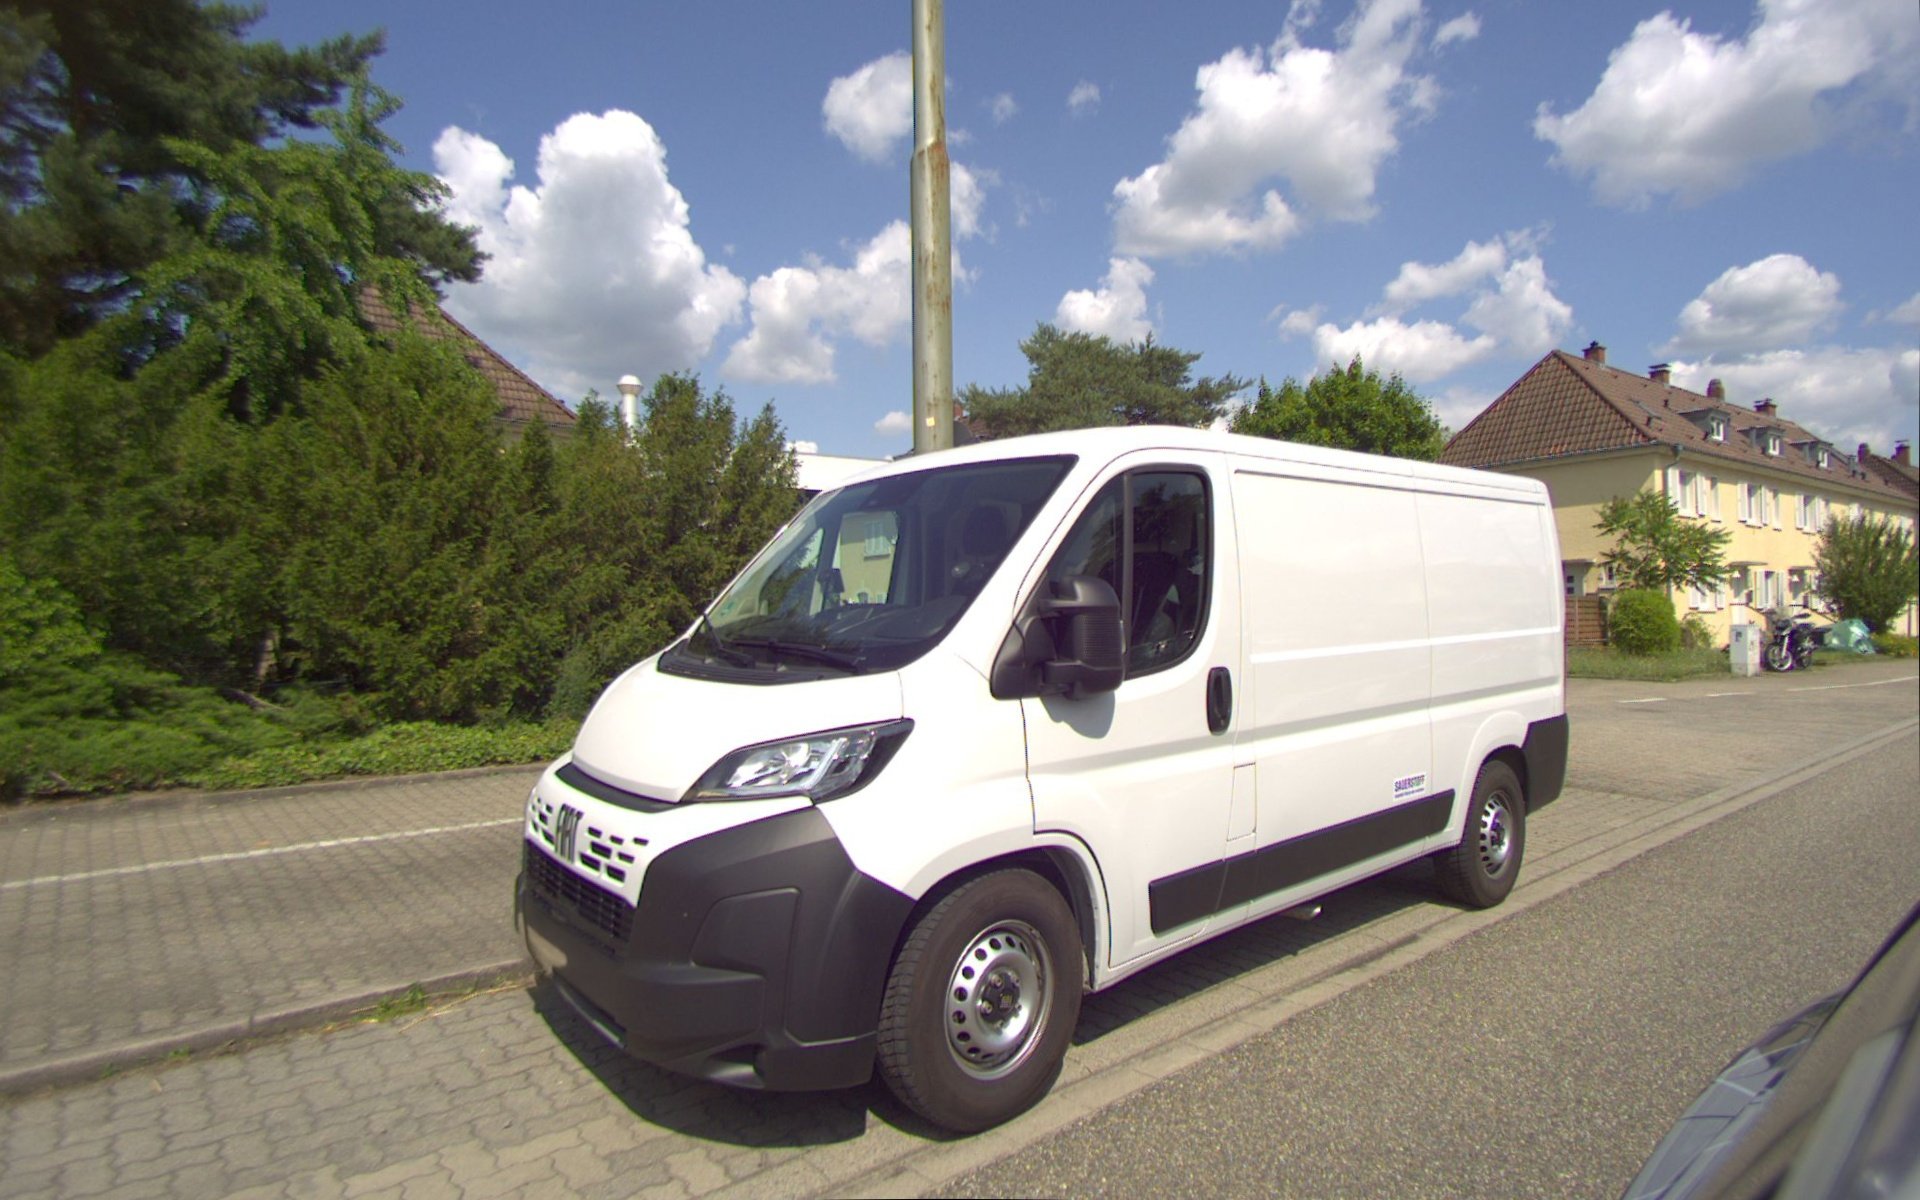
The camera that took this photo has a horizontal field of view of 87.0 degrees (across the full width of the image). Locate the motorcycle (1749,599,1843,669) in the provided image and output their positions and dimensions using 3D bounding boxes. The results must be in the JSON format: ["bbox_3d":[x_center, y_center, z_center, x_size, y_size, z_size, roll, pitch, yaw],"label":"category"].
[{"bbox_3d":[19.133,0.740,23.140,2.536,1.489,1.050,0,1,-36],"label":"motorcycle"}]

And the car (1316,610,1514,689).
[{"bbox_3d":[9.123,0.935,20.189,4.206,1.398,1.644,0,-2,-35],"label":"car"}]

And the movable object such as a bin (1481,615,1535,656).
[{"bbox_3d":[13.050,0.842,24.098,1.262,0.948,0.572,0,-2,-32],"label":"movable object such as a bin"}]

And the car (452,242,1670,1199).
[{"bbox_3d":[1.141,0.356,5.059,6.252,2.211,2.281,1,-1,-39],"label":"car"}]

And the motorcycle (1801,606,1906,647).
[{"bbox_3d":[27.335,0.809,30.997,0.837,1.213,2.235,0,-2,-33],"label":"motorcycle"}]
